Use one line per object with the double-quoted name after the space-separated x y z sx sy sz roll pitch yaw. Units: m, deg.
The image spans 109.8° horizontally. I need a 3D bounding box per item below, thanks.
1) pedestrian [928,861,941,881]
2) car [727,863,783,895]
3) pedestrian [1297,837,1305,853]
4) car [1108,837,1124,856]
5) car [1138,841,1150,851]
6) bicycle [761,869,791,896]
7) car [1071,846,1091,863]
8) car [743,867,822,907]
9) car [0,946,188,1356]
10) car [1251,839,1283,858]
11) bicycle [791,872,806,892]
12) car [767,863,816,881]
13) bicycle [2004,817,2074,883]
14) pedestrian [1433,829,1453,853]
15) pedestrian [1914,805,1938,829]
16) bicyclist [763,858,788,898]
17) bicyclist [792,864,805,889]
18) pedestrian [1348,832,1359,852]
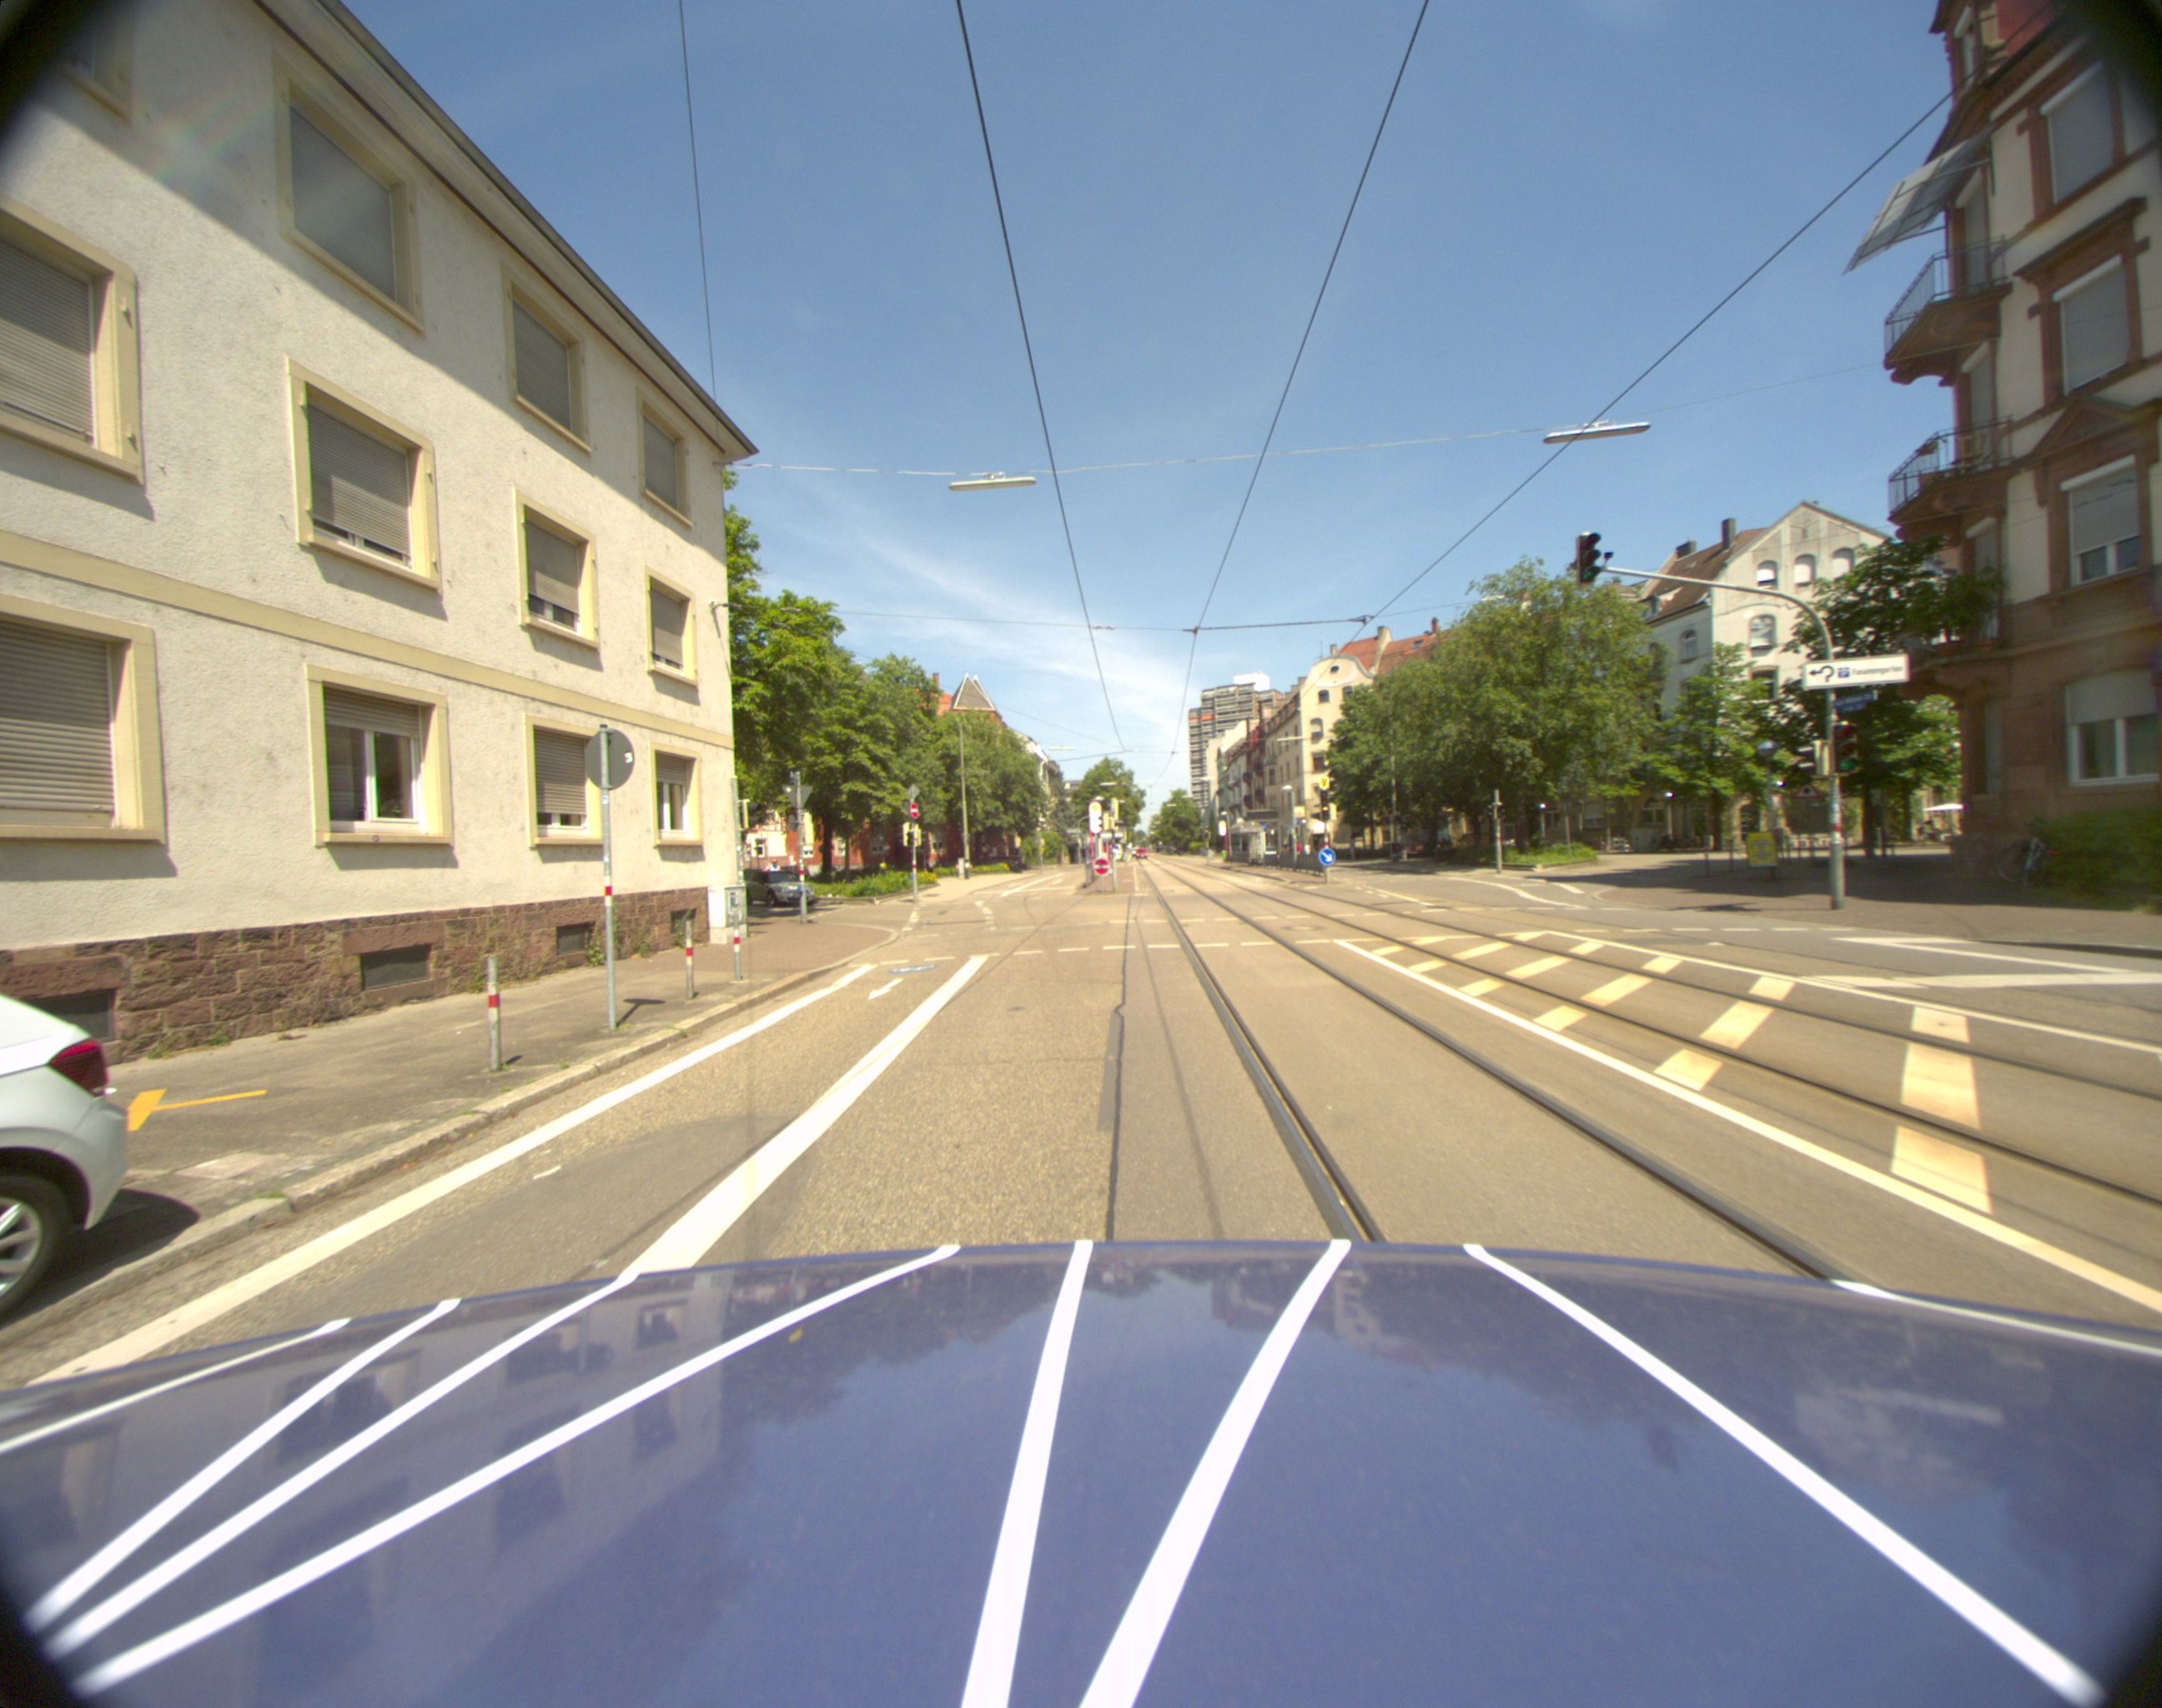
-8.893 1.015 46.143 0.652 1.143 0.642 -4 1 -12 "pedestrian"
-18.555 1.377 43.427 1.613 1.554 4.065 -3 1 -4 "car"
20.936 -0.850 72.430 0.537 1.433 0.520 -3 1 -6 "pedestrian"
4.990 -1.093 108.951 2.236 2.478 5.266 -3 2 2 "car"
10.325 -1.307 125.377 1.737 1.543 4.424 -3 0 2 "car"
-13.943 1.293 34.698 0.682 1.148 1.799 -4 1 -40 "bicycle"
0.030 0.049 74.684 1.737 1.543 4.424 -3 0 2 "car"
-11.980 1.306 30.416 1.699 1.437 3.617 -1 -1 -43 "car"
-4.889 1.132 1.274 1.781 1.402 4.156 1 1 3 "car"
14.103 -0.464 57.778 1.696 1.302 3.849 -3 1 4 "car"
-19.200 1.898 51.668 0.640 1.285 1.929 -4 1 -13 "bicycle"
-27.459 1.720 71.941 4.309 1.444 1.647 -3 1 23 "car"
17.512 -0.099 13.924 0.465 1.101 1.927 -2 1 42 "bicycle"
20.826 -0.730 43.753 0.822 1.309 0.652 -3 1 10 "pedestrian"
49.402 -2.166 44.408 0.603 1.342 0.702 -3 1 -3 "pedestrian"
-13.962 1.110 34.723 0.700 1.757 0.862 -4 2 -40 "bicyclist"
-19.222 1.533 51.676 0.640 1.614 0.862 -4 1 -13 "bicyclist"
20.073 -0.882 55.965 0.537 1.433 0.520 -3 1 -6 "pedestrian"
